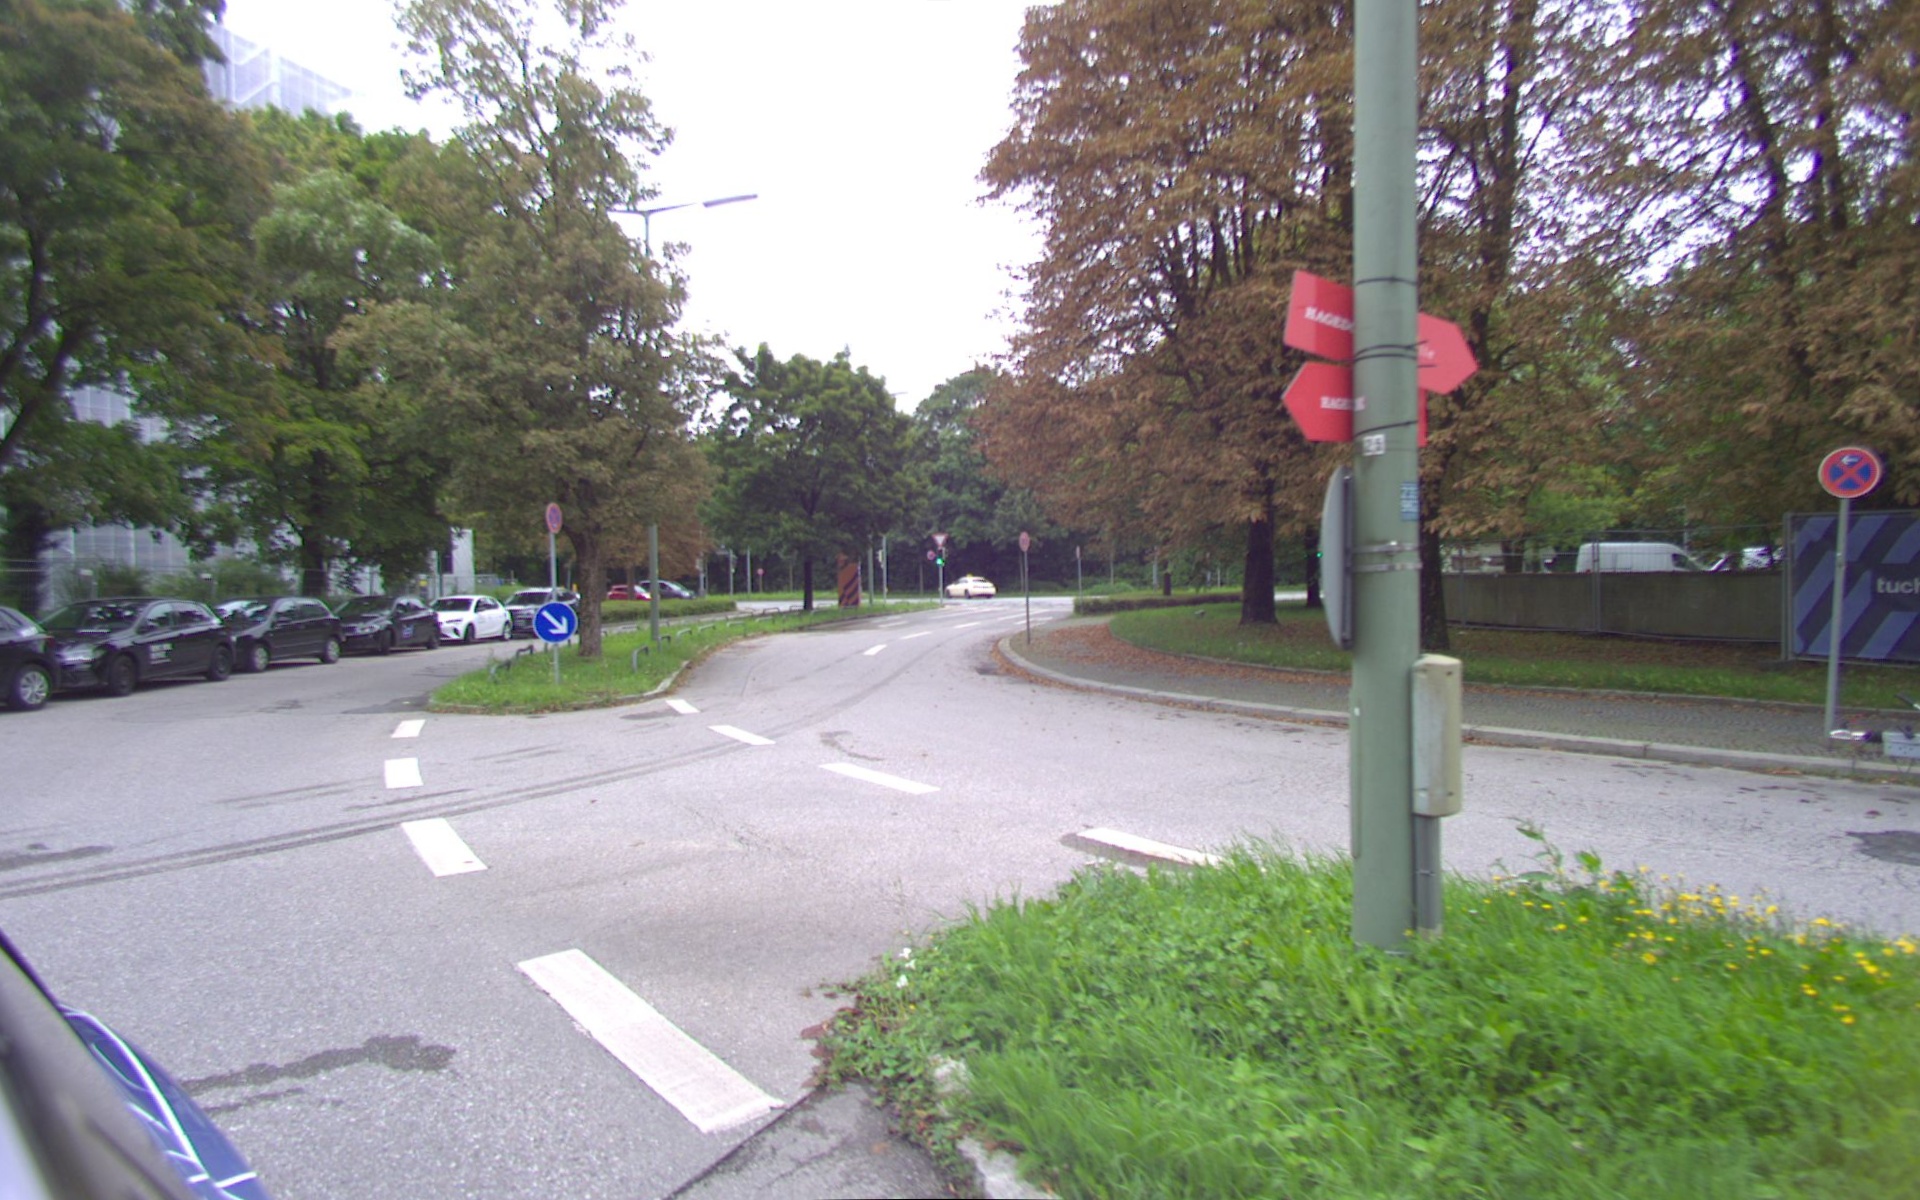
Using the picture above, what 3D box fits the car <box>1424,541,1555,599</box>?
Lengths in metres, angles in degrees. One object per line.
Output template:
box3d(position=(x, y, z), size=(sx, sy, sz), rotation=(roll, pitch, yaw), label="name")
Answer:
box3d(position=(26.525, -1.474, 50.917), size=(5.553, 2.754, 2.064), rotation=(-1, 1, 19), label="car")

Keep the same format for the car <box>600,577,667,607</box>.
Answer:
box3d(position=(-23.029, -0.535, 71.468), size=(4.117, 2.029, 1.991), rotation=(-1, 1, 14), label="car")

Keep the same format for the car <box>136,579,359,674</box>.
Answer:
box3d(position=(-14.144, 0.472, 20.410), size=(1.969, 1.719, 4.005), rotation=(1, 0, -6), label="car")

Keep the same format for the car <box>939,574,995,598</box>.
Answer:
box3d(position=(0.415, -0.913, 69.006), size=(1.861, 1.557, 4.870), rotation=(-1, 1, -25), label="car")

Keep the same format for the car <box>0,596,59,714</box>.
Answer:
box3d(position=(-12.703, 0.682, 11.276), size=(1.969, 1.443, 4.048), rotation=(1, 0, -5), label="car")

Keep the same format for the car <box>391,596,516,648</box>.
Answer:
box3d(position=(-14.868, 0.595, 29.977), size=(1.775, 1.394, 4.221), rotation=(-1, 0, -3), label="car")

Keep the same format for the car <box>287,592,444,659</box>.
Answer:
box3d(position=(-14.523, 0.560, 25.002), size=(1.812, 1.472, 4.011), rotation=(-1, 0, -6), label="car")

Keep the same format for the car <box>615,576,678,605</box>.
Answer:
box3d(position=(-22.978, -0.721, 74.131), size=(3.961, 2.029, 1.991), rotation=(-1, 1, 14), label="car")

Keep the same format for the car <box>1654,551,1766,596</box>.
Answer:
box3d(position=(46.263, -1.615, 62.569), size=(5.097, 2.600, 2.063), rotation=(-1, 1, 20), label="car")

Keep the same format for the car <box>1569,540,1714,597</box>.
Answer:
box3d(position=(32.880, -1.482, 49.002), size=(5.415, 2.600, 2.064), rotation=(-1, 1, 19), label="car")

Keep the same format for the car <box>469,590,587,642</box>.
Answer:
box3d(position=(-14.612, 0.542, 34.518), size=(1.868, 1.618, 4.389), rotation=(-1, -1, 5), label="car")

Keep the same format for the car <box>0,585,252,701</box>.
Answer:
box3d(position=(-13.162, 0.573, 15.681), size=(1.968, 1.552, 4.007), rotation=(-1, 1, -8), label="car")

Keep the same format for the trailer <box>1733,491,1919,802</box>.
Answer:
box3d(position=(7.884, 0.268, 6.112), size=(1.787, 2.029, 4.840), rotation=(-2, 0, -42), label="trailer")
